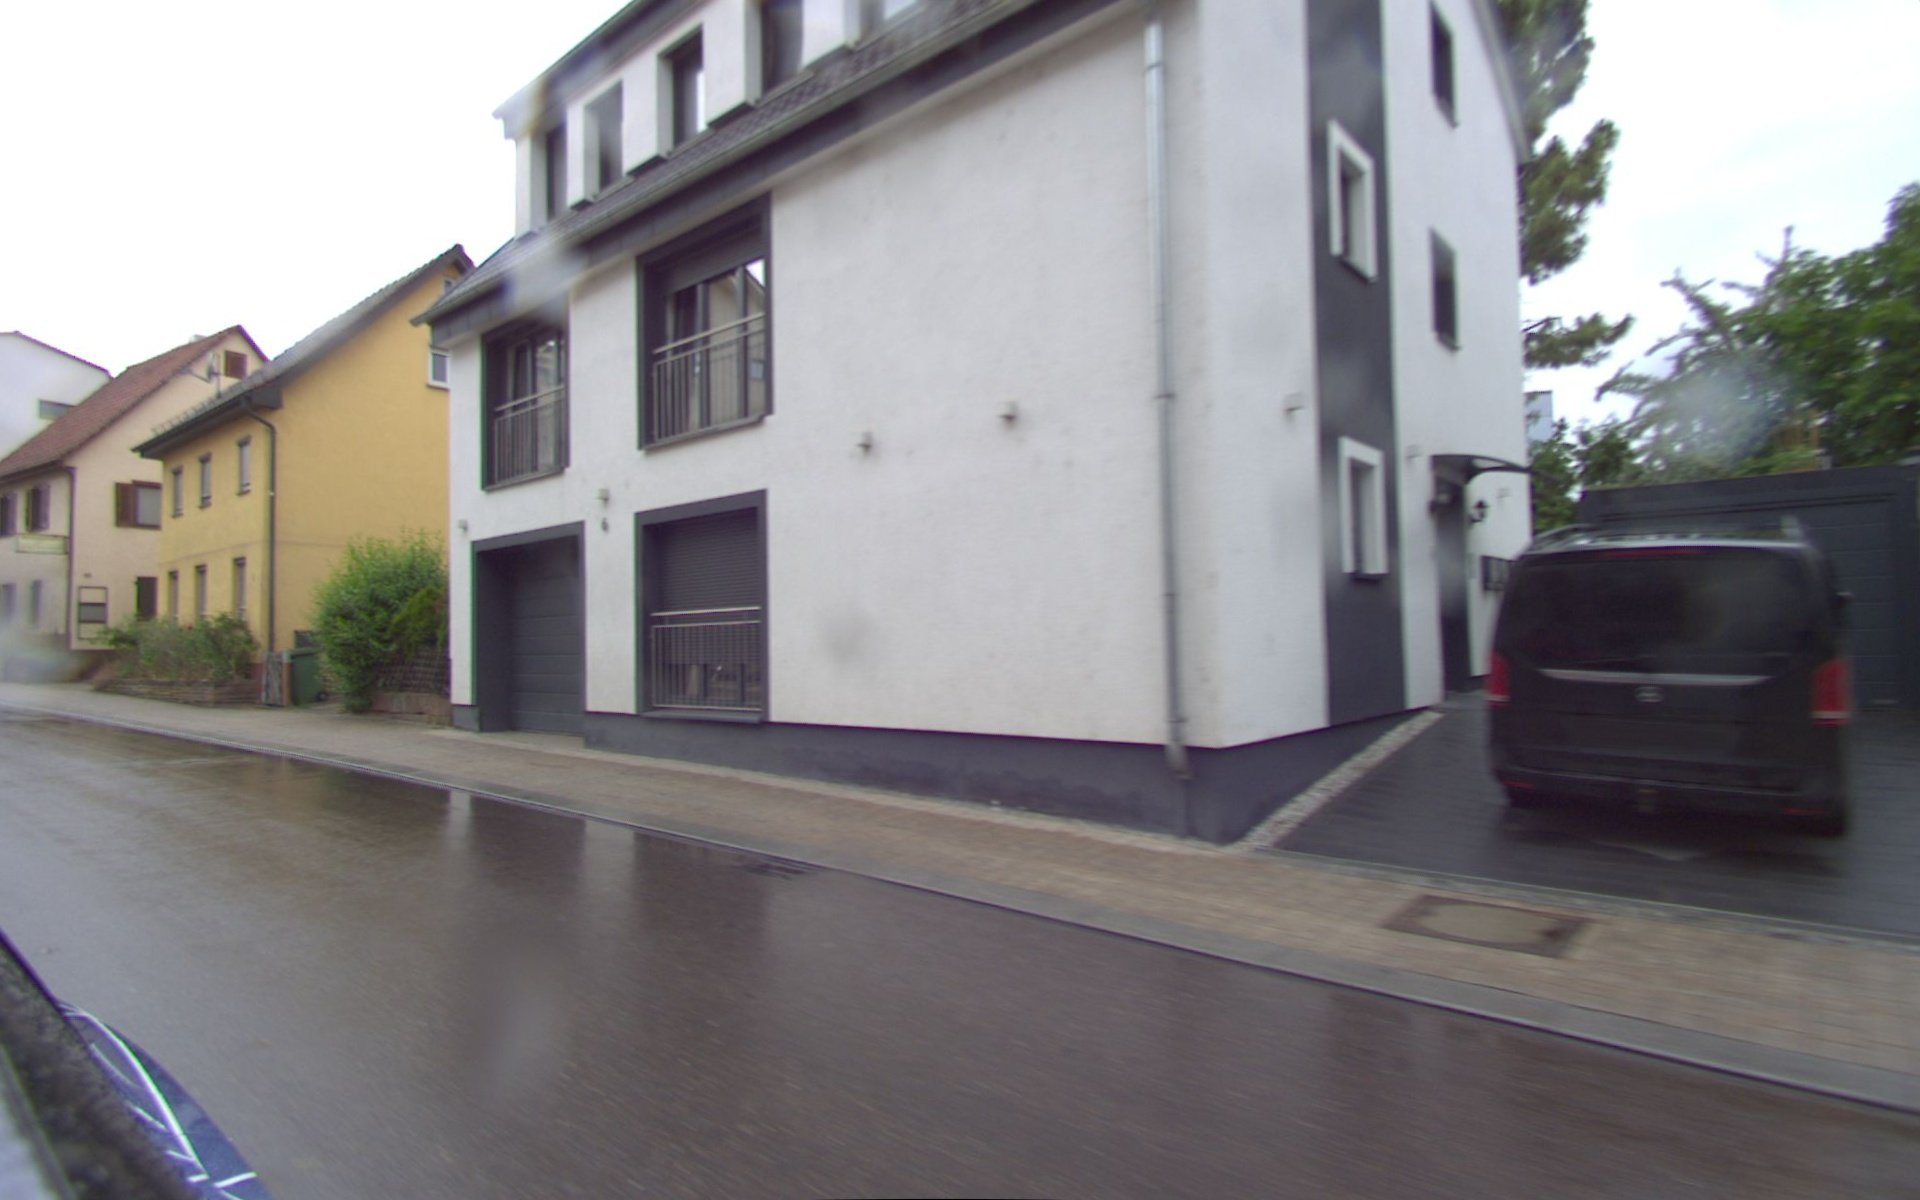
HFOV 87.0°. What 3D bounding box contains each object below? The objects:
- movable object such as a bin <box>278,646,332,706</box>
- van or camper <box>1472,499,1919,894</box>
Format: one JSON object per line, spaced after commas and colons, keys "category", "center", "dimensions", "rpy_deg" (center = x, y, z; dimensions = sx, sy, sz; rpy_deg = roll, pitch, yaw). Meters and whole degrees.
{"category": "movable object such as a bin", "center": [-12.724, 1.479, 19.650], "dimensions": [0.721, 1.117, 0.650], "rpy_deg": [-1, -5, 42]}
{"category": "van or camper", "center": [5.579, 0.306, 7.550], "dimensions": [1.999, 1.947, 4.974], "rpy_deg": [-1, 4, 40]}
